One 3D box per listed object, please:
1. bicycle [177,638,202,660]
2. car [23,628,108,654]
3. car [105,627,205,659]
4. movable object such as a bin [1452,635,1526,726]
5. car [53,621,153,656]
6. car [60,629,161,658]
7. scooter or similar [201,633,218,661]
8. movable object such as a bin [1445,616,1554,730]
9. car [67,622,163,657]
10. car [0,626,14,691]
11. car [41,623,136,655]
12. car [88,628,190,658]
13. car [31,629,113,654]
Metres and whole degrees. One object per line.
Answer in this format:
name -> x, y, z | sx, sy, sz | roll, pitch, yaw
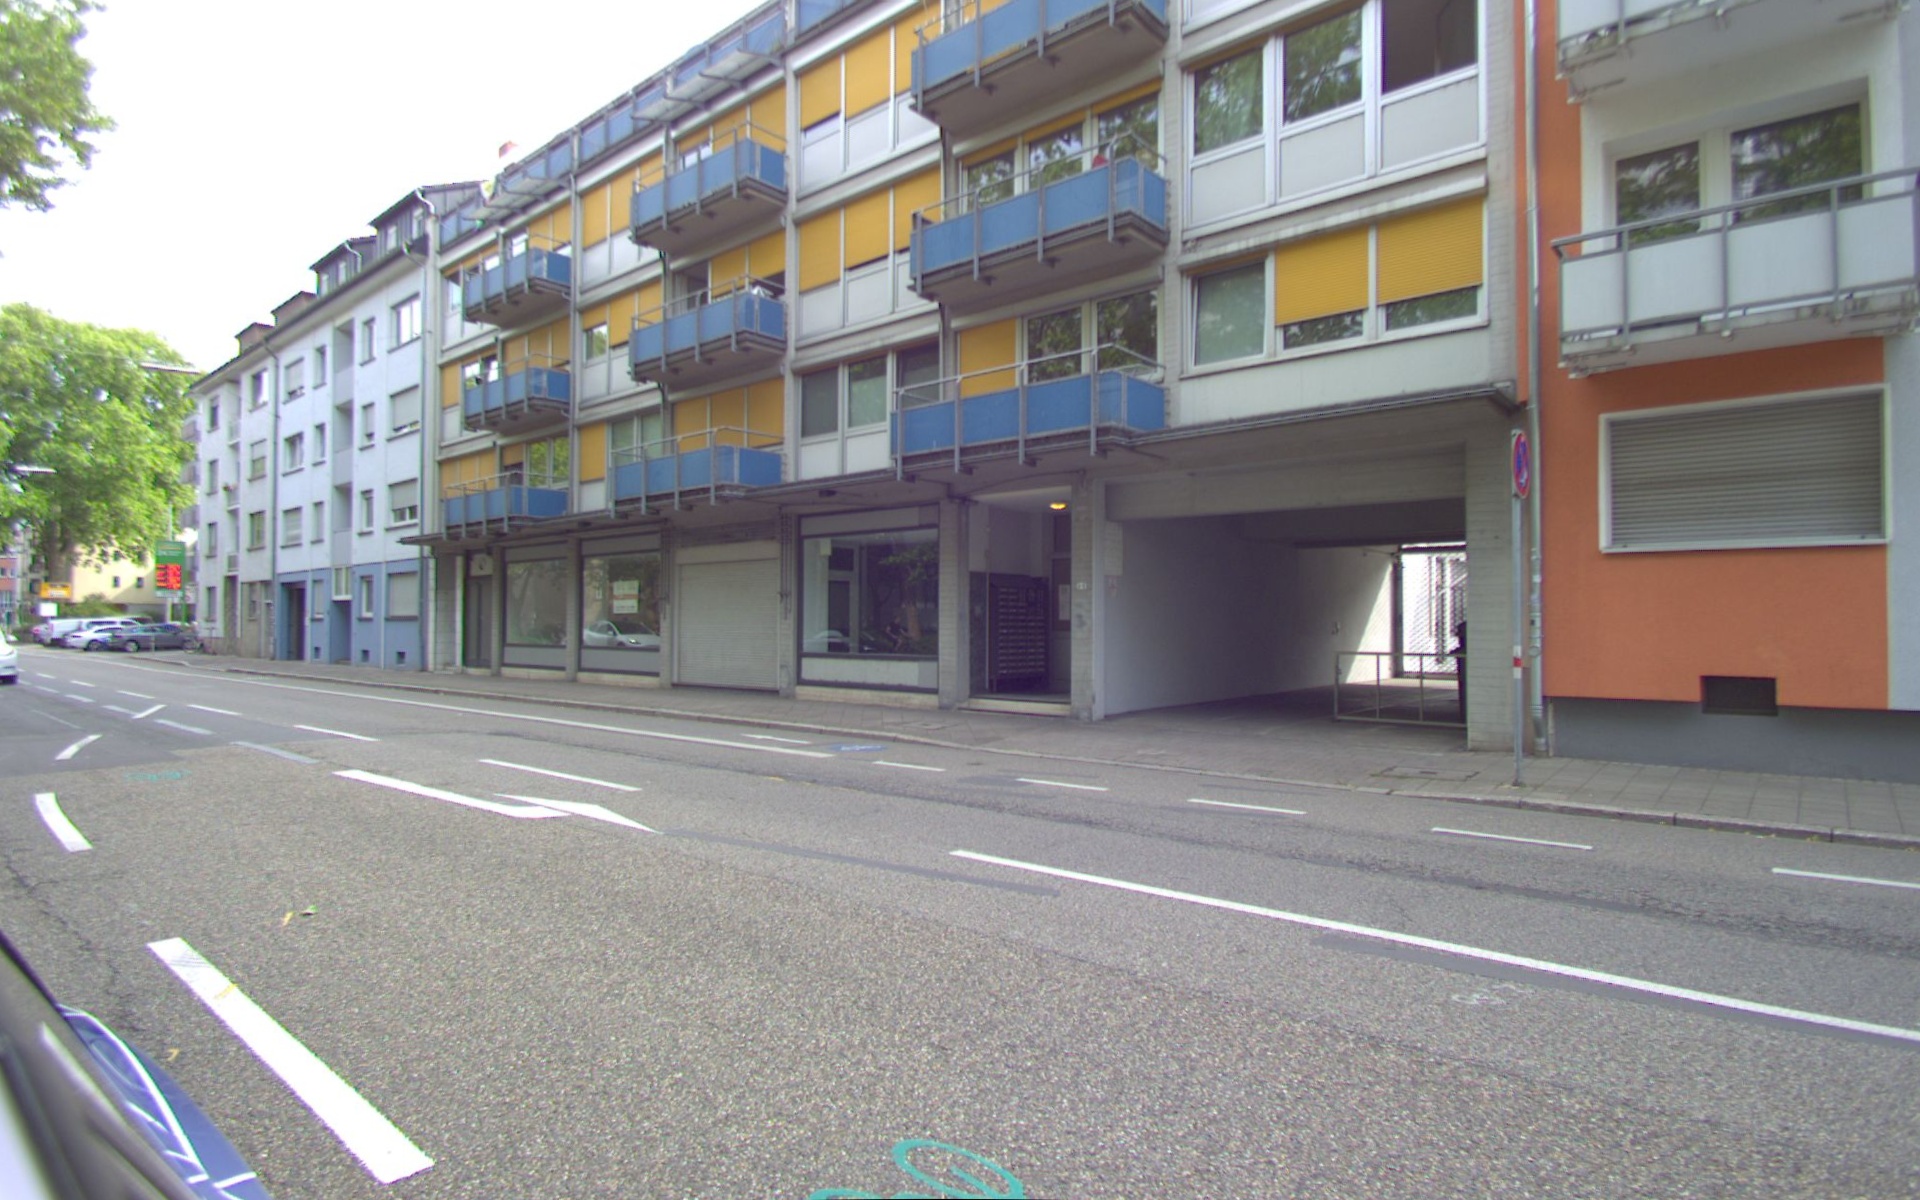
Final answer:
bicycle -> -35.356, 2.236, 46.449 | 1.662, 0.957, 0.591 | -2, -1, 41
car -> -65.915, 2.997, 74.618 | 1.753, 1.618, 4.470 | -2, 0, 42
car -> -44.779, 2.350, 56.330 | 1.836, 1.525, 4.107 | -2, 0, 41
movable object such as a bin -> 6.852, 1.018, 13.110 | 0.709, 1.134, 0.635 | -2, -2, 42
car -> -55.478, 2.458, 65.552 | 1.993, 1.949, 4.716 | -2, 0, 42
car -> -49.051, 2.494, 58.466 | 1.873, 1.462, 4.226 | -2, 0, 41
scooter or similar -> -33.216, 2.064, 44.796 | 1.201, 1.231, 0.346 | -2, -1, 42
movable object such as a bin -> 7.401, 0.961, 13.879 | 1.052, 1.475, 1.177 | -2, -2, 42
car -> -50.677, 2.338, 60.758 | 1.923, 1.862, 4.167 | -2, 0, 41
car -> -25.527, 1.462, 25.608 | 4.550, 1.578, 1.974 | -1, -2, 43
car -> -57.515, 2.558, 66.839 | 1.949, 1.873, 4.567 | -2, 0, 42
car -> -46.747, 2.432, 57.677 | 1.910, 1.462, 4.255 | -2, 0, 41
car -> -64.134, 2.960, 73.141 | 1.732, 1.560, 4.315 | -2, 0, 42
